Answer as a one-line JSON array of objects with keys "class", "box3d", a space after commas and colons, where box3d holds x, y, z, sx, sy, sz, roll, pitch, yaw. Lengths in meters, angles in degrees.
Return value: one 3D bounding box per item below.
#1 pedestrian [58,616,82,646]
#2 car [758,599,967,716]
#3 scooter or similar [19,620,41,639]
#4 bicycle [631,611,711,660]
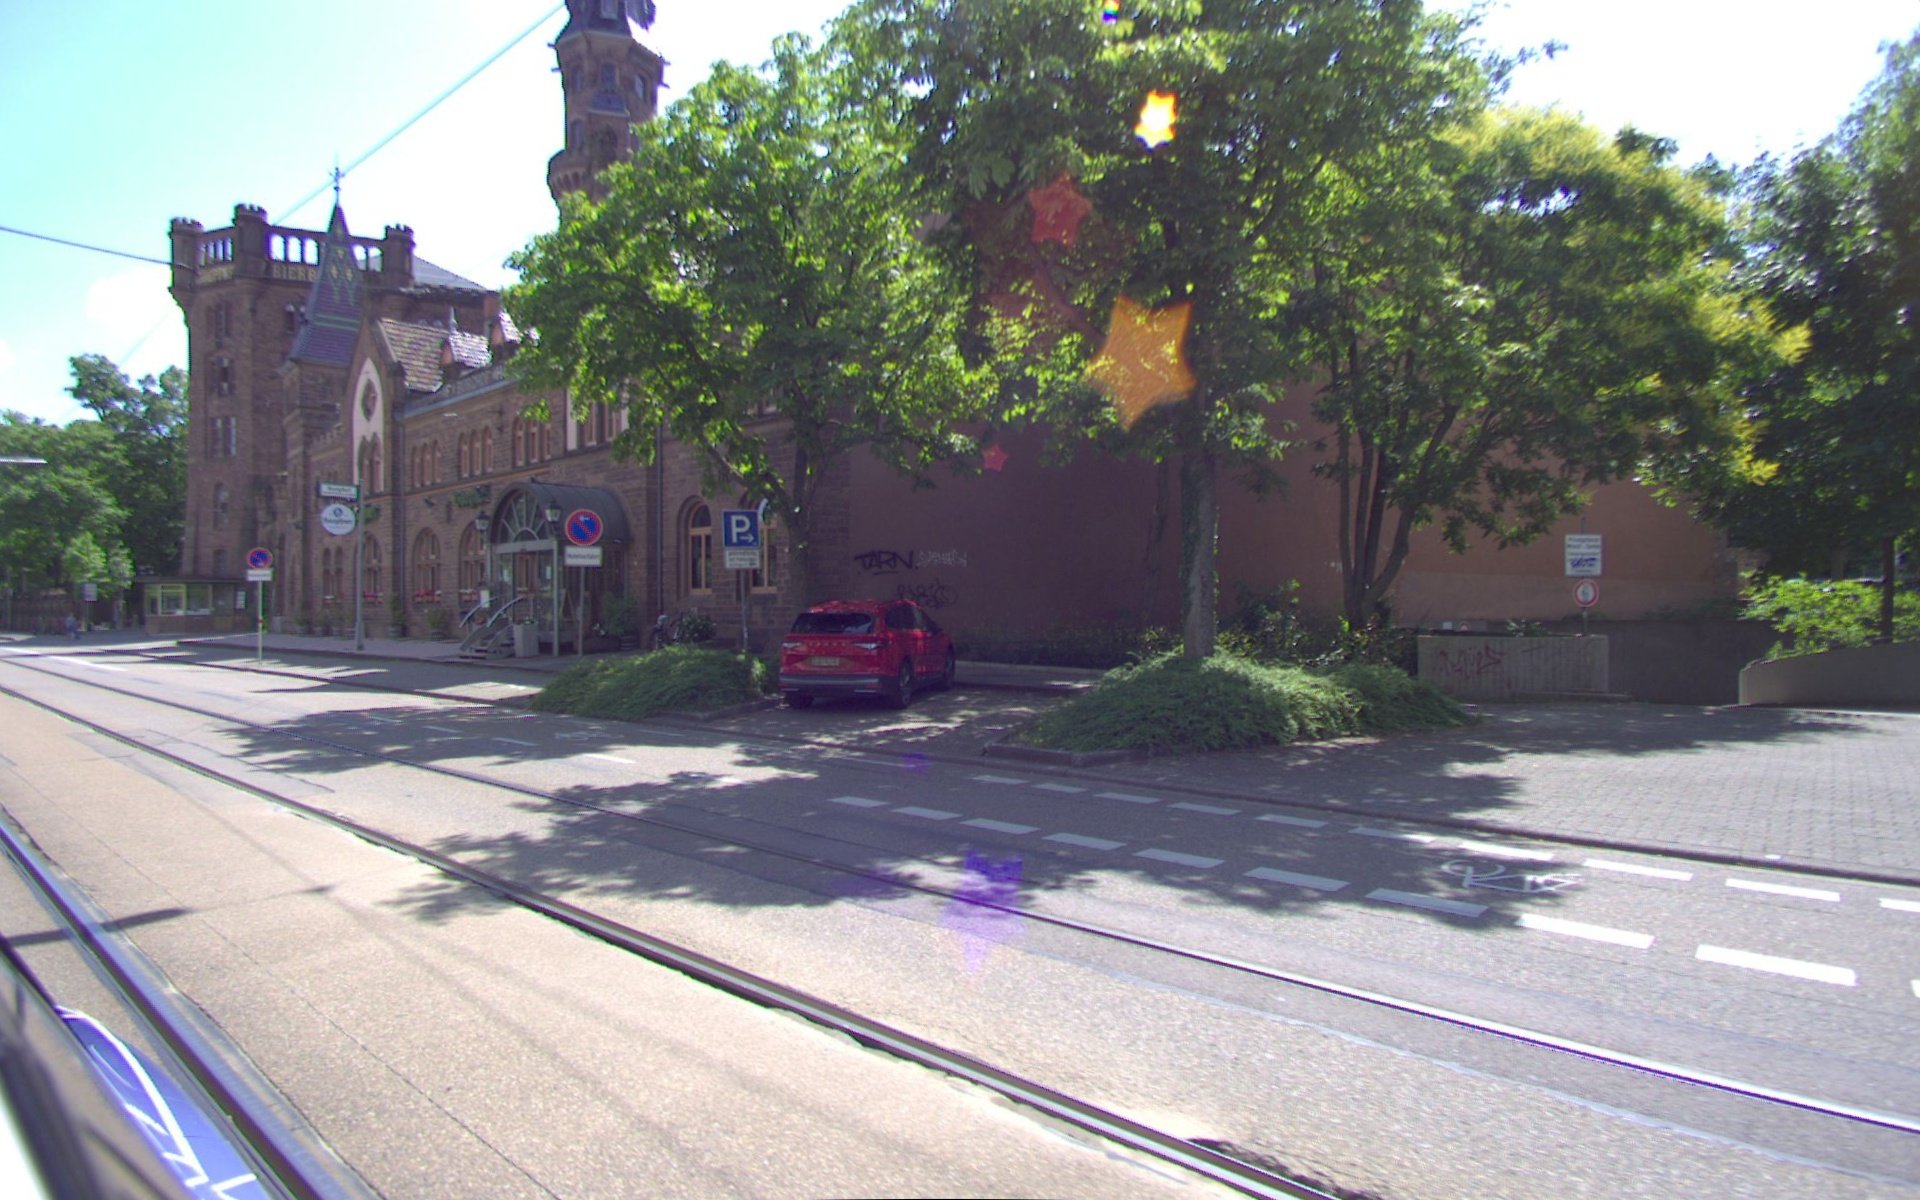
[{"class": "pedestrian", "box3d": [-49.320, 1.728, 56.082, 0.919, 1.600, 0.791, -1, 2, 41]}, {"class": "car", "box3d": [-1.346, 0.797, 16.281, 1.981, 1.578, 4.761, -1, 0, 12]}, {"class": "scooter or similar", "box3d": [-59.388, 1.904, 64.618, 0.343, 1.135, 1.227, -1, 2, -6]}, {"class": "bicycle", "box3d": [-6.606, 0.800, 23.229, 0.594, 0.897, 1.986, -2, 4, 24]}]
